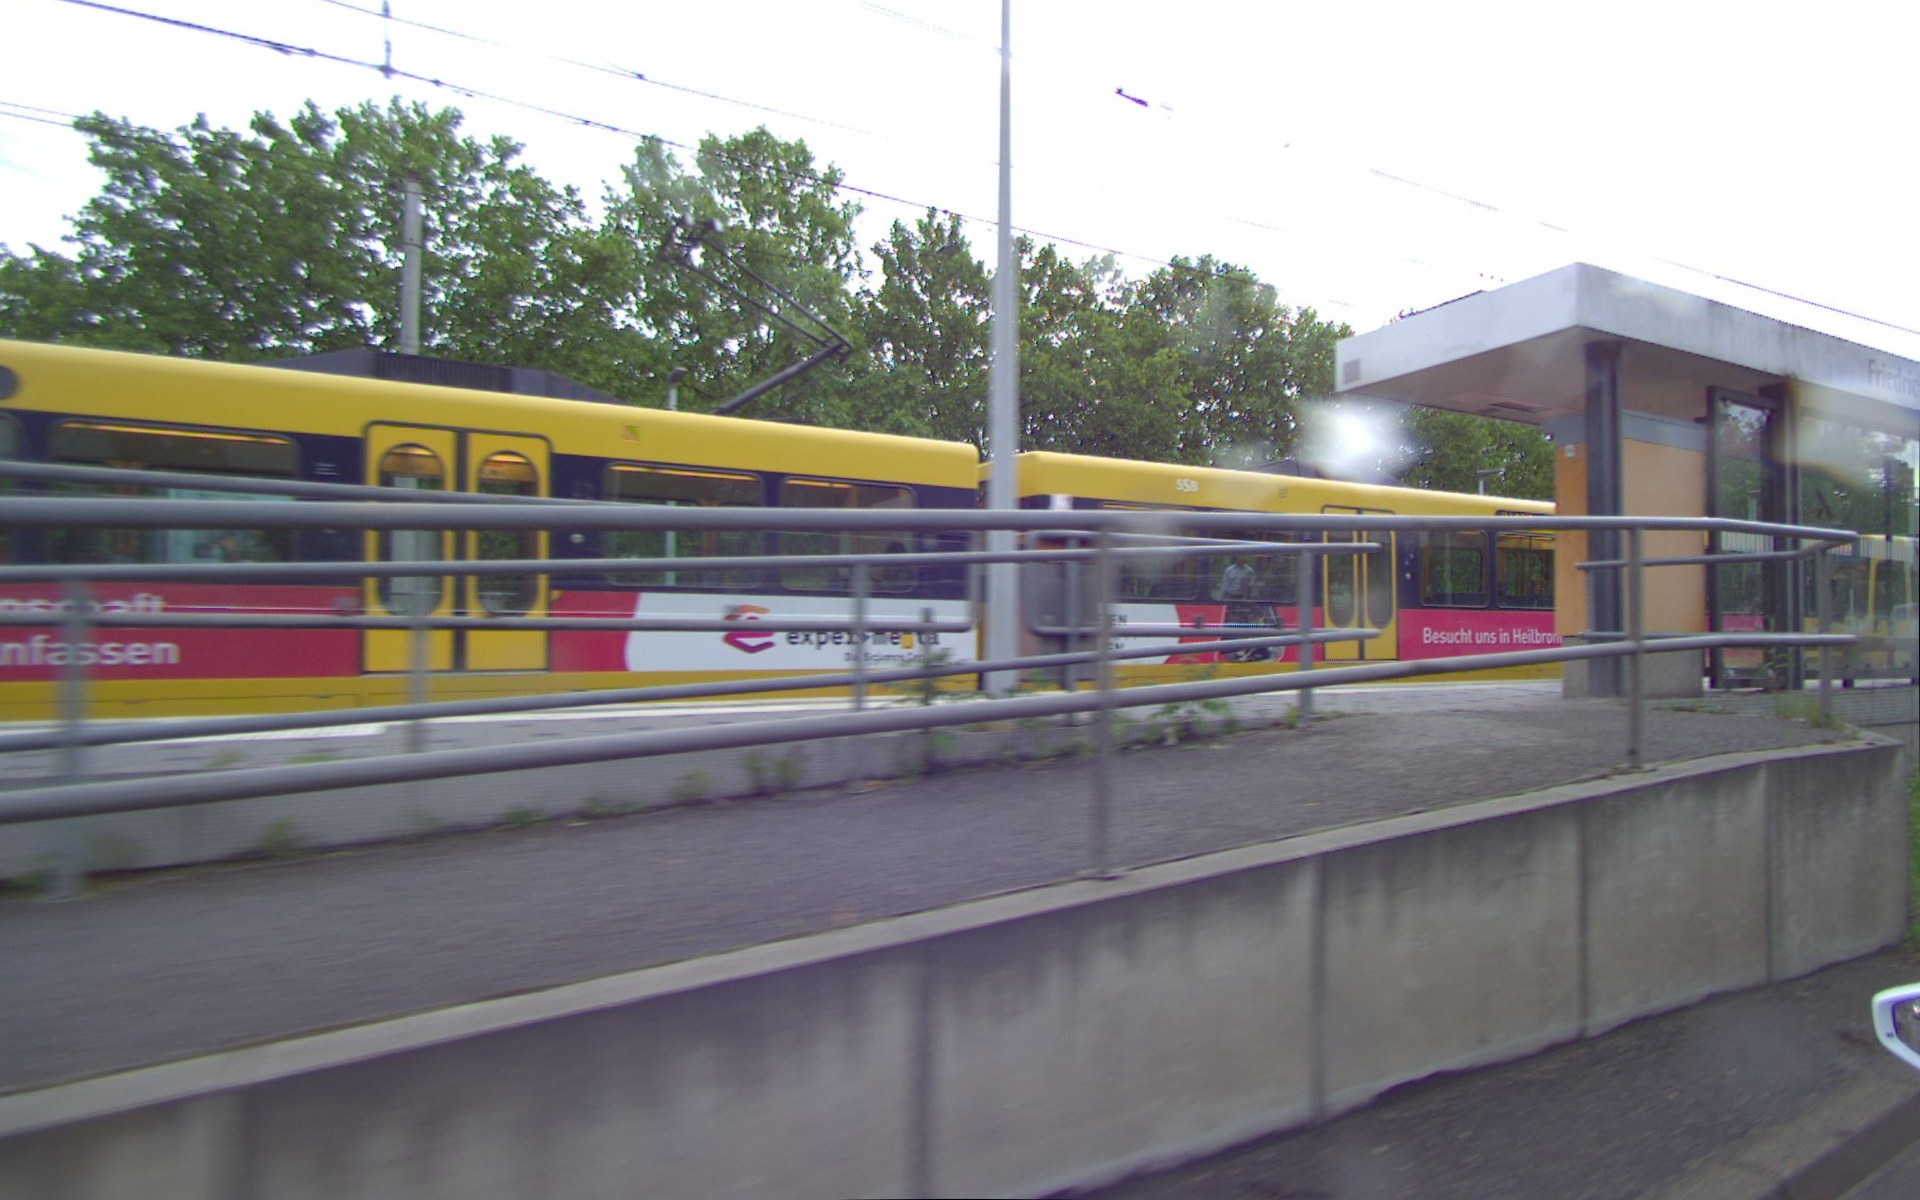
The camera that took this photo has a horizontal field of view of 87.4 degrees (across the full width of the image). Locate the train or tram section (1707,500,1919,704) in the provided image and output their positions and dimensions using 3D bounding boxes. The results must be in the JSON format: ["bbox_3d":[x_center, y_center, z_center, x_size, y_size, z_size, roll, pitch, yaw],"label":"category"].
[{"bbox_3d":[26.029,0.285,25.002,19.059,4.023,2.861,2,0,-24],"label":"train or tram section"}]

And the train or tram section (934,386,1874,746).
[{"bbox_3d":[8.825,-0.133,16.778,19.079,4.006,2.858,2,0,-27],"label":"train or tram section"}]

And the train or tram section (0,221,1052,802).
[{"bbox_3d":[-8.041,-0.641,7.837,19.093,4.026,2.856,2,0,-29],"label":"train or tram section"}]
